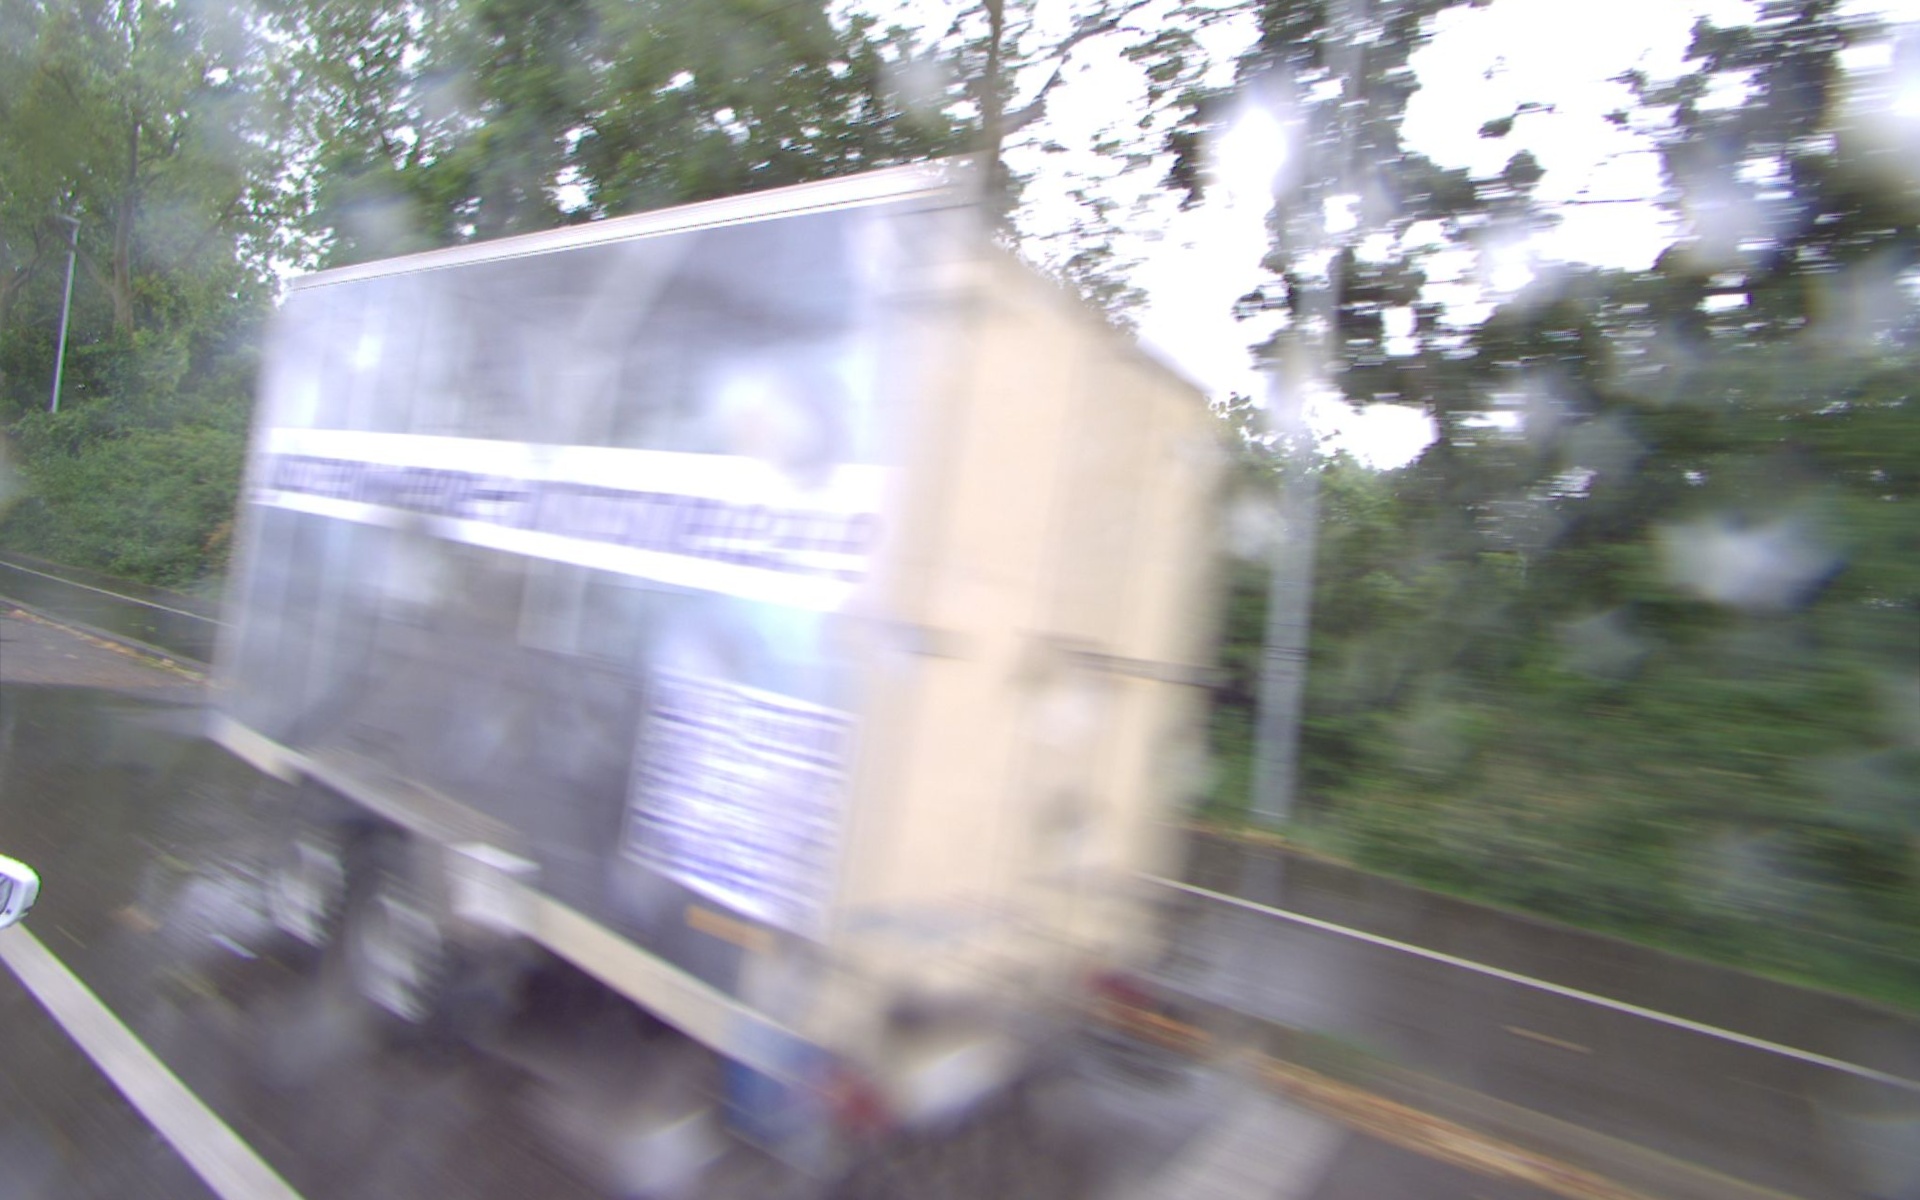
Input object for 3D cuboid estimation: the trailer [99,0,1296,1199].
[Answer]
[{"bbox_3d":[-1.708,-0.013,4.700,5.591,2.789,2.166,6,-2,37],"label":"trailer"}]
